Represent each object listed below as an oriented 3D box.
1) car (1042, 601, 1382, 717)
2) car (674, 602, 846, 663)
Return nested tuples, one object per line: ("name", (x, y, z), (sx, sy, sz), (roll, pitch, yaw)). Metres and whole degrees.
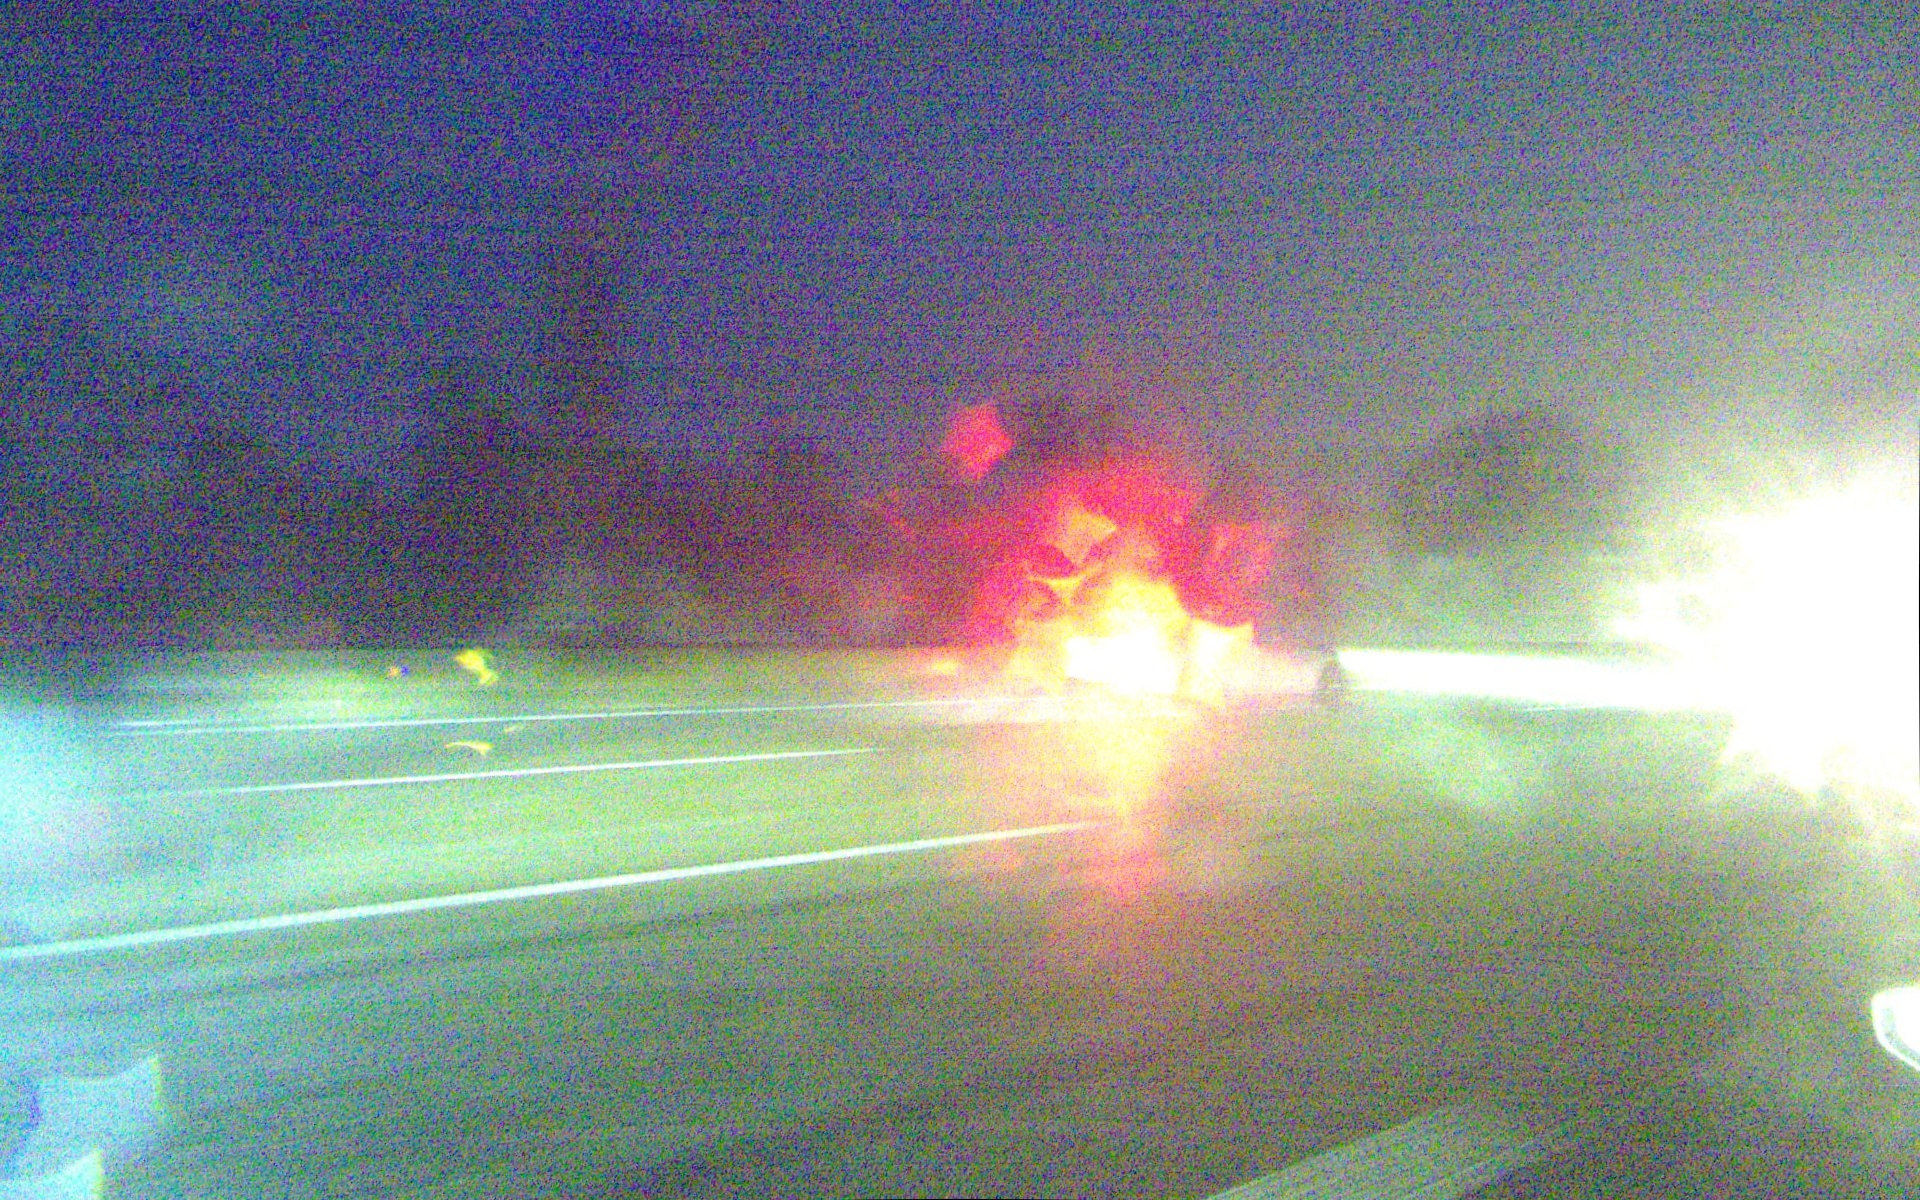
("car", (3.926, 0.850, 15.393), (5.103, 1.496, 1.984), (2, 0, -30))
("car", (-5.659, 0.910, 28.544), (4.409, 1.578, 1.870), (2, 0, -31))
